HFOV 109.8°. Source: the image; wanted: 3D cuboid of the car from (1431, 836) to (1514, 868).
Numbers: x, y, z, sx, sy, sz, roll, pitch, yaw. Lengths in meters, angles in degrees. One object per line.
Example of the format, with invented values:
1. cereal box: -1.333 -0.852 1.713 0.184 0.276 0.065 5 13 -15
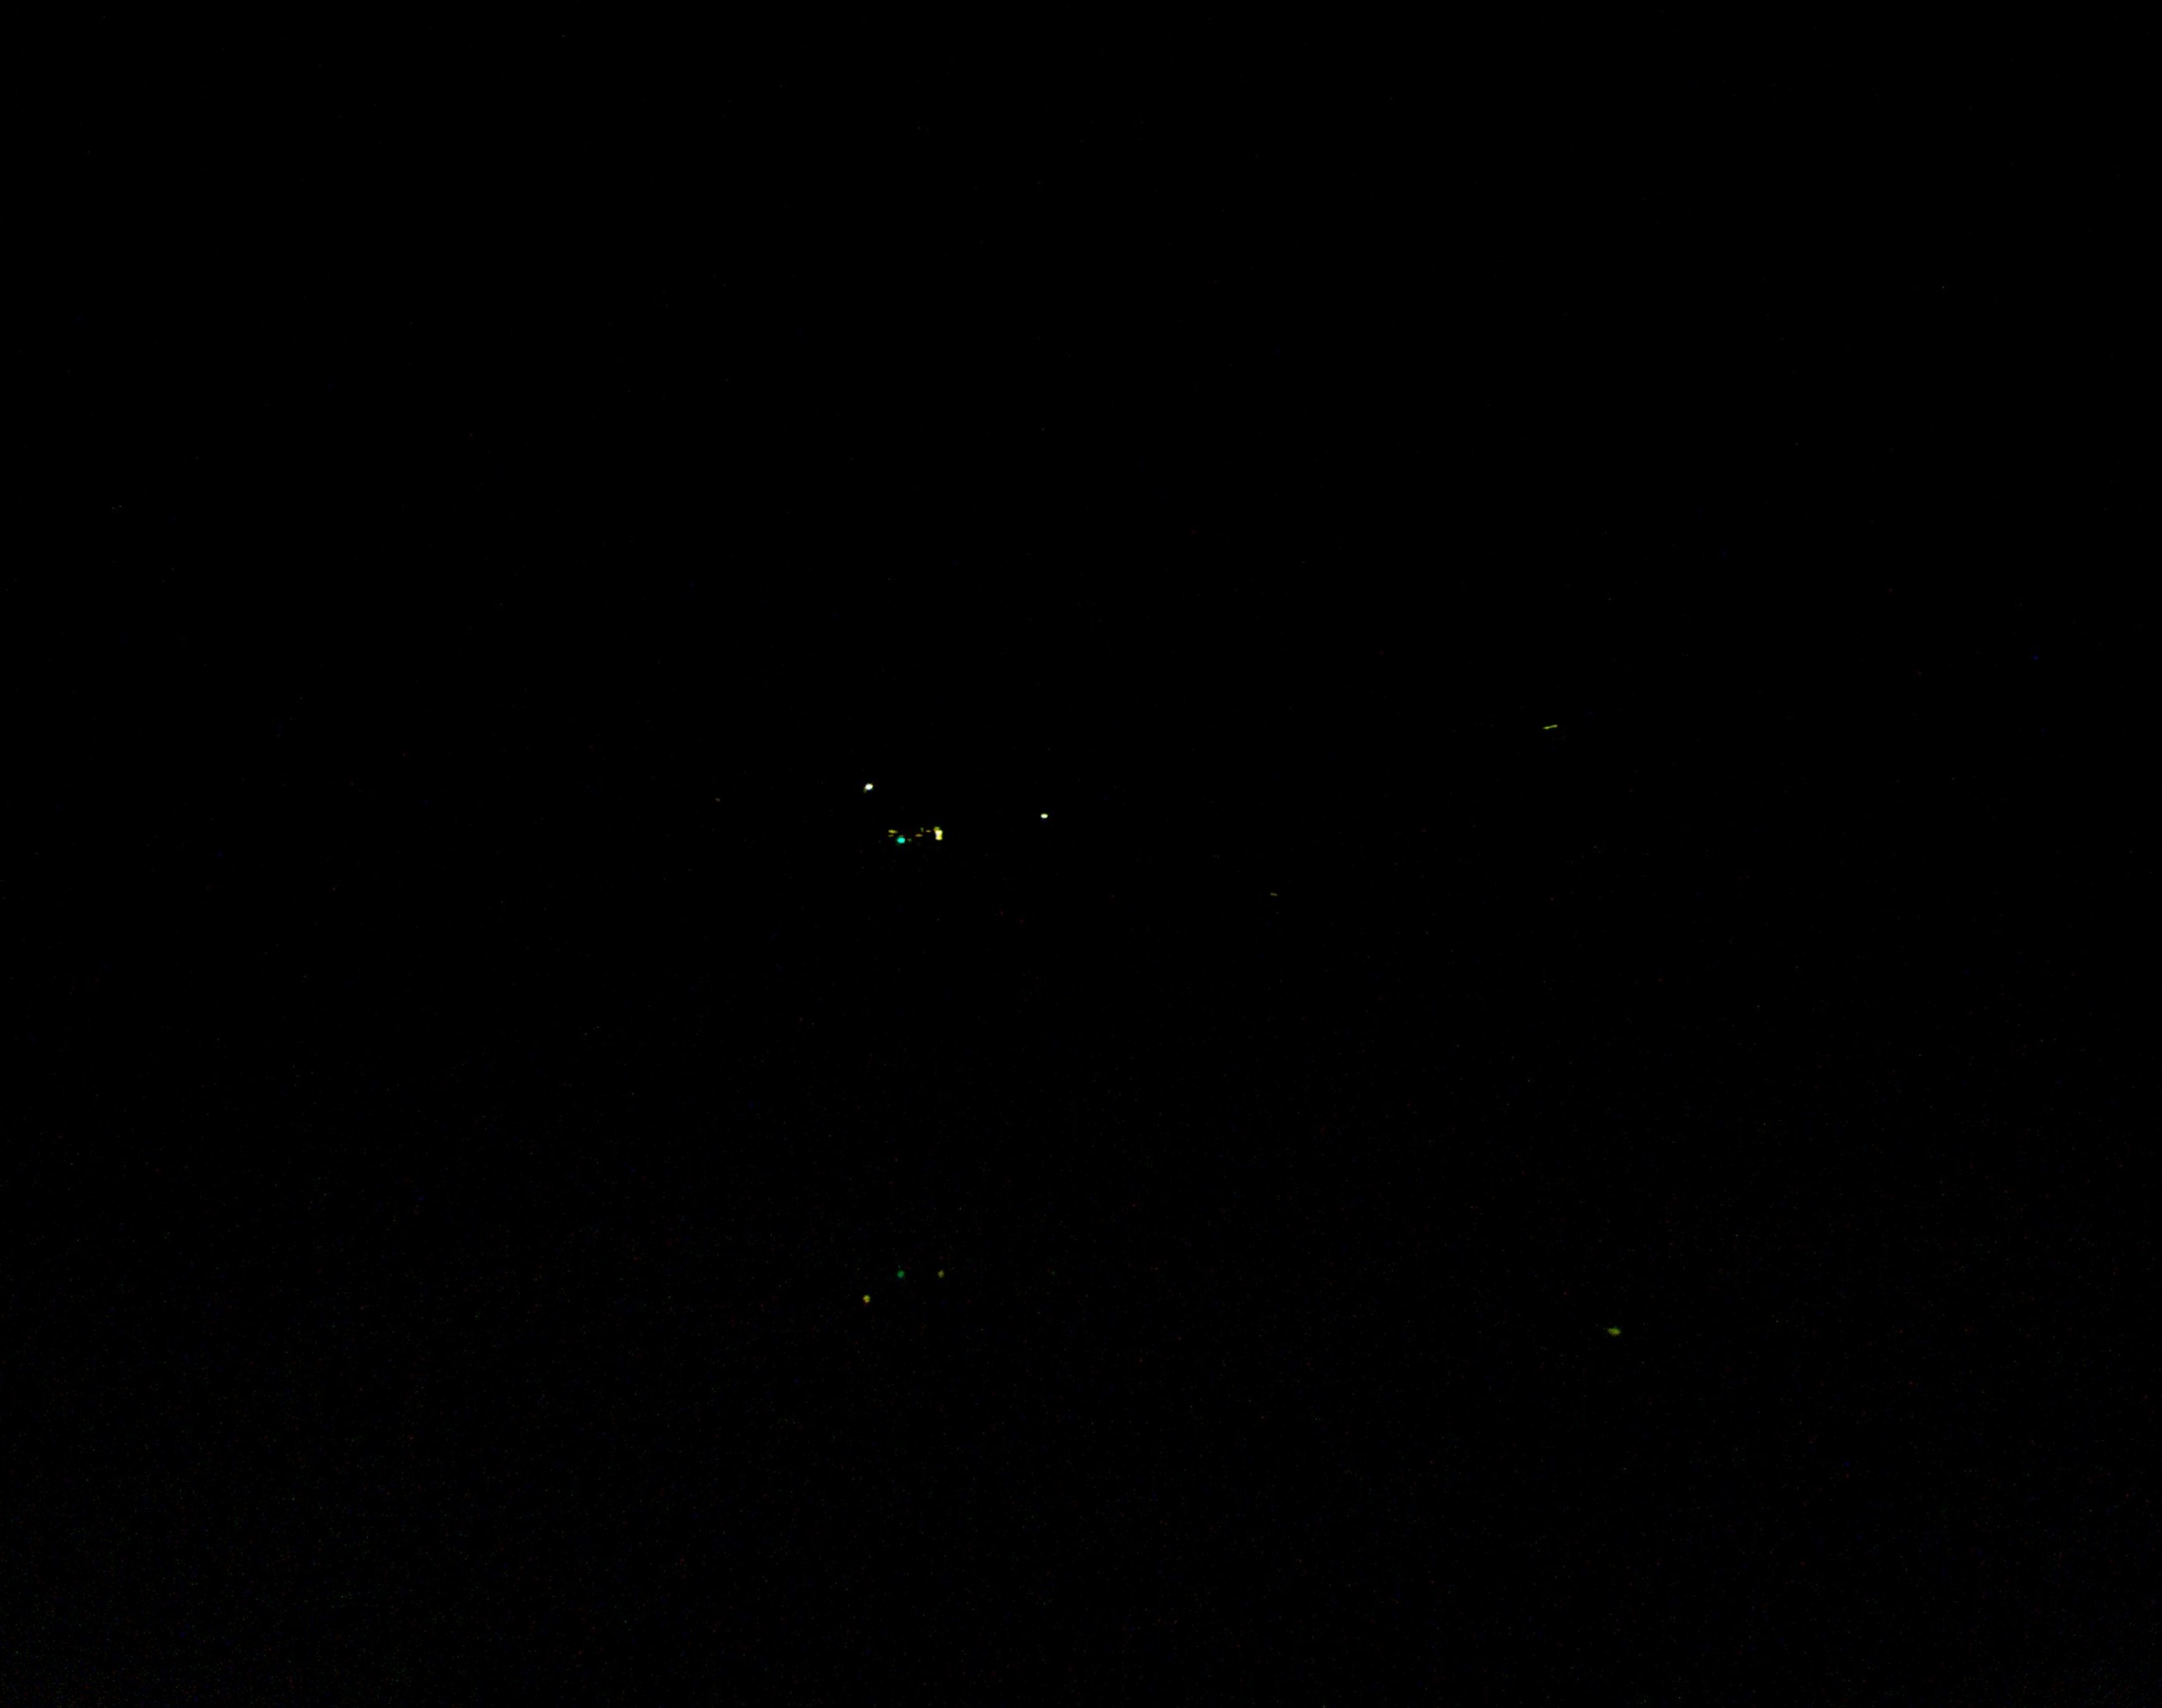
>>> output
1. car: 22.559 -0.157 43.829 4.001 1.600 1.754 -3 3 -13

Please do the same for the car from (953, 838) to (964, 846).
1. car: -27.816 -2.685 173.051 2.127 1.761 4.713 1 1 -13

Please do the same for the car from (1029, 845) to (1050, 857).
1. car: -5.255 -0.388 95.694 1.907 1.357 4.976 1 1 -13

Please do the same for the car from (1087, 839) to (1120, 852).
1. car: 3.078 -1.185 103.811 4.002 1.534 1.886 -3 3 -17

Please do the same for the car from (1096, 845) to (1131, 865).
1. car: 2.720 0.033 65.289 1.723 1.568 4.528 2 1 -14

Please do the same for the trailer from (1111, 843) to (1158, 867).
1. trailer: 4.158 0.006 60.332 2.032 1.770 5.665 1 1 -14

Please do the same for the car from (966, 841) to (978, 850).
1. car: -23.065 -1.864 160.695 2.127 1.761 4.713 1 1 -13

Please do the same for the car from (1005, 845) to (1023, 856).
1. car: -10.103 -0.502 114.151 1.771 1.559 4.686 3 0 -15

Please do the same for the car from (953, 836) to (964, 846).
1. car: -30.109 -3.187 186.533 2.167 2.498 4.713 1 1 -13

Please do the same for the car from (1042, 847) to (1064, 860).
1. car: -3.351 -0.044 89.526 1.735 1.357 4.139 1 1 -15
